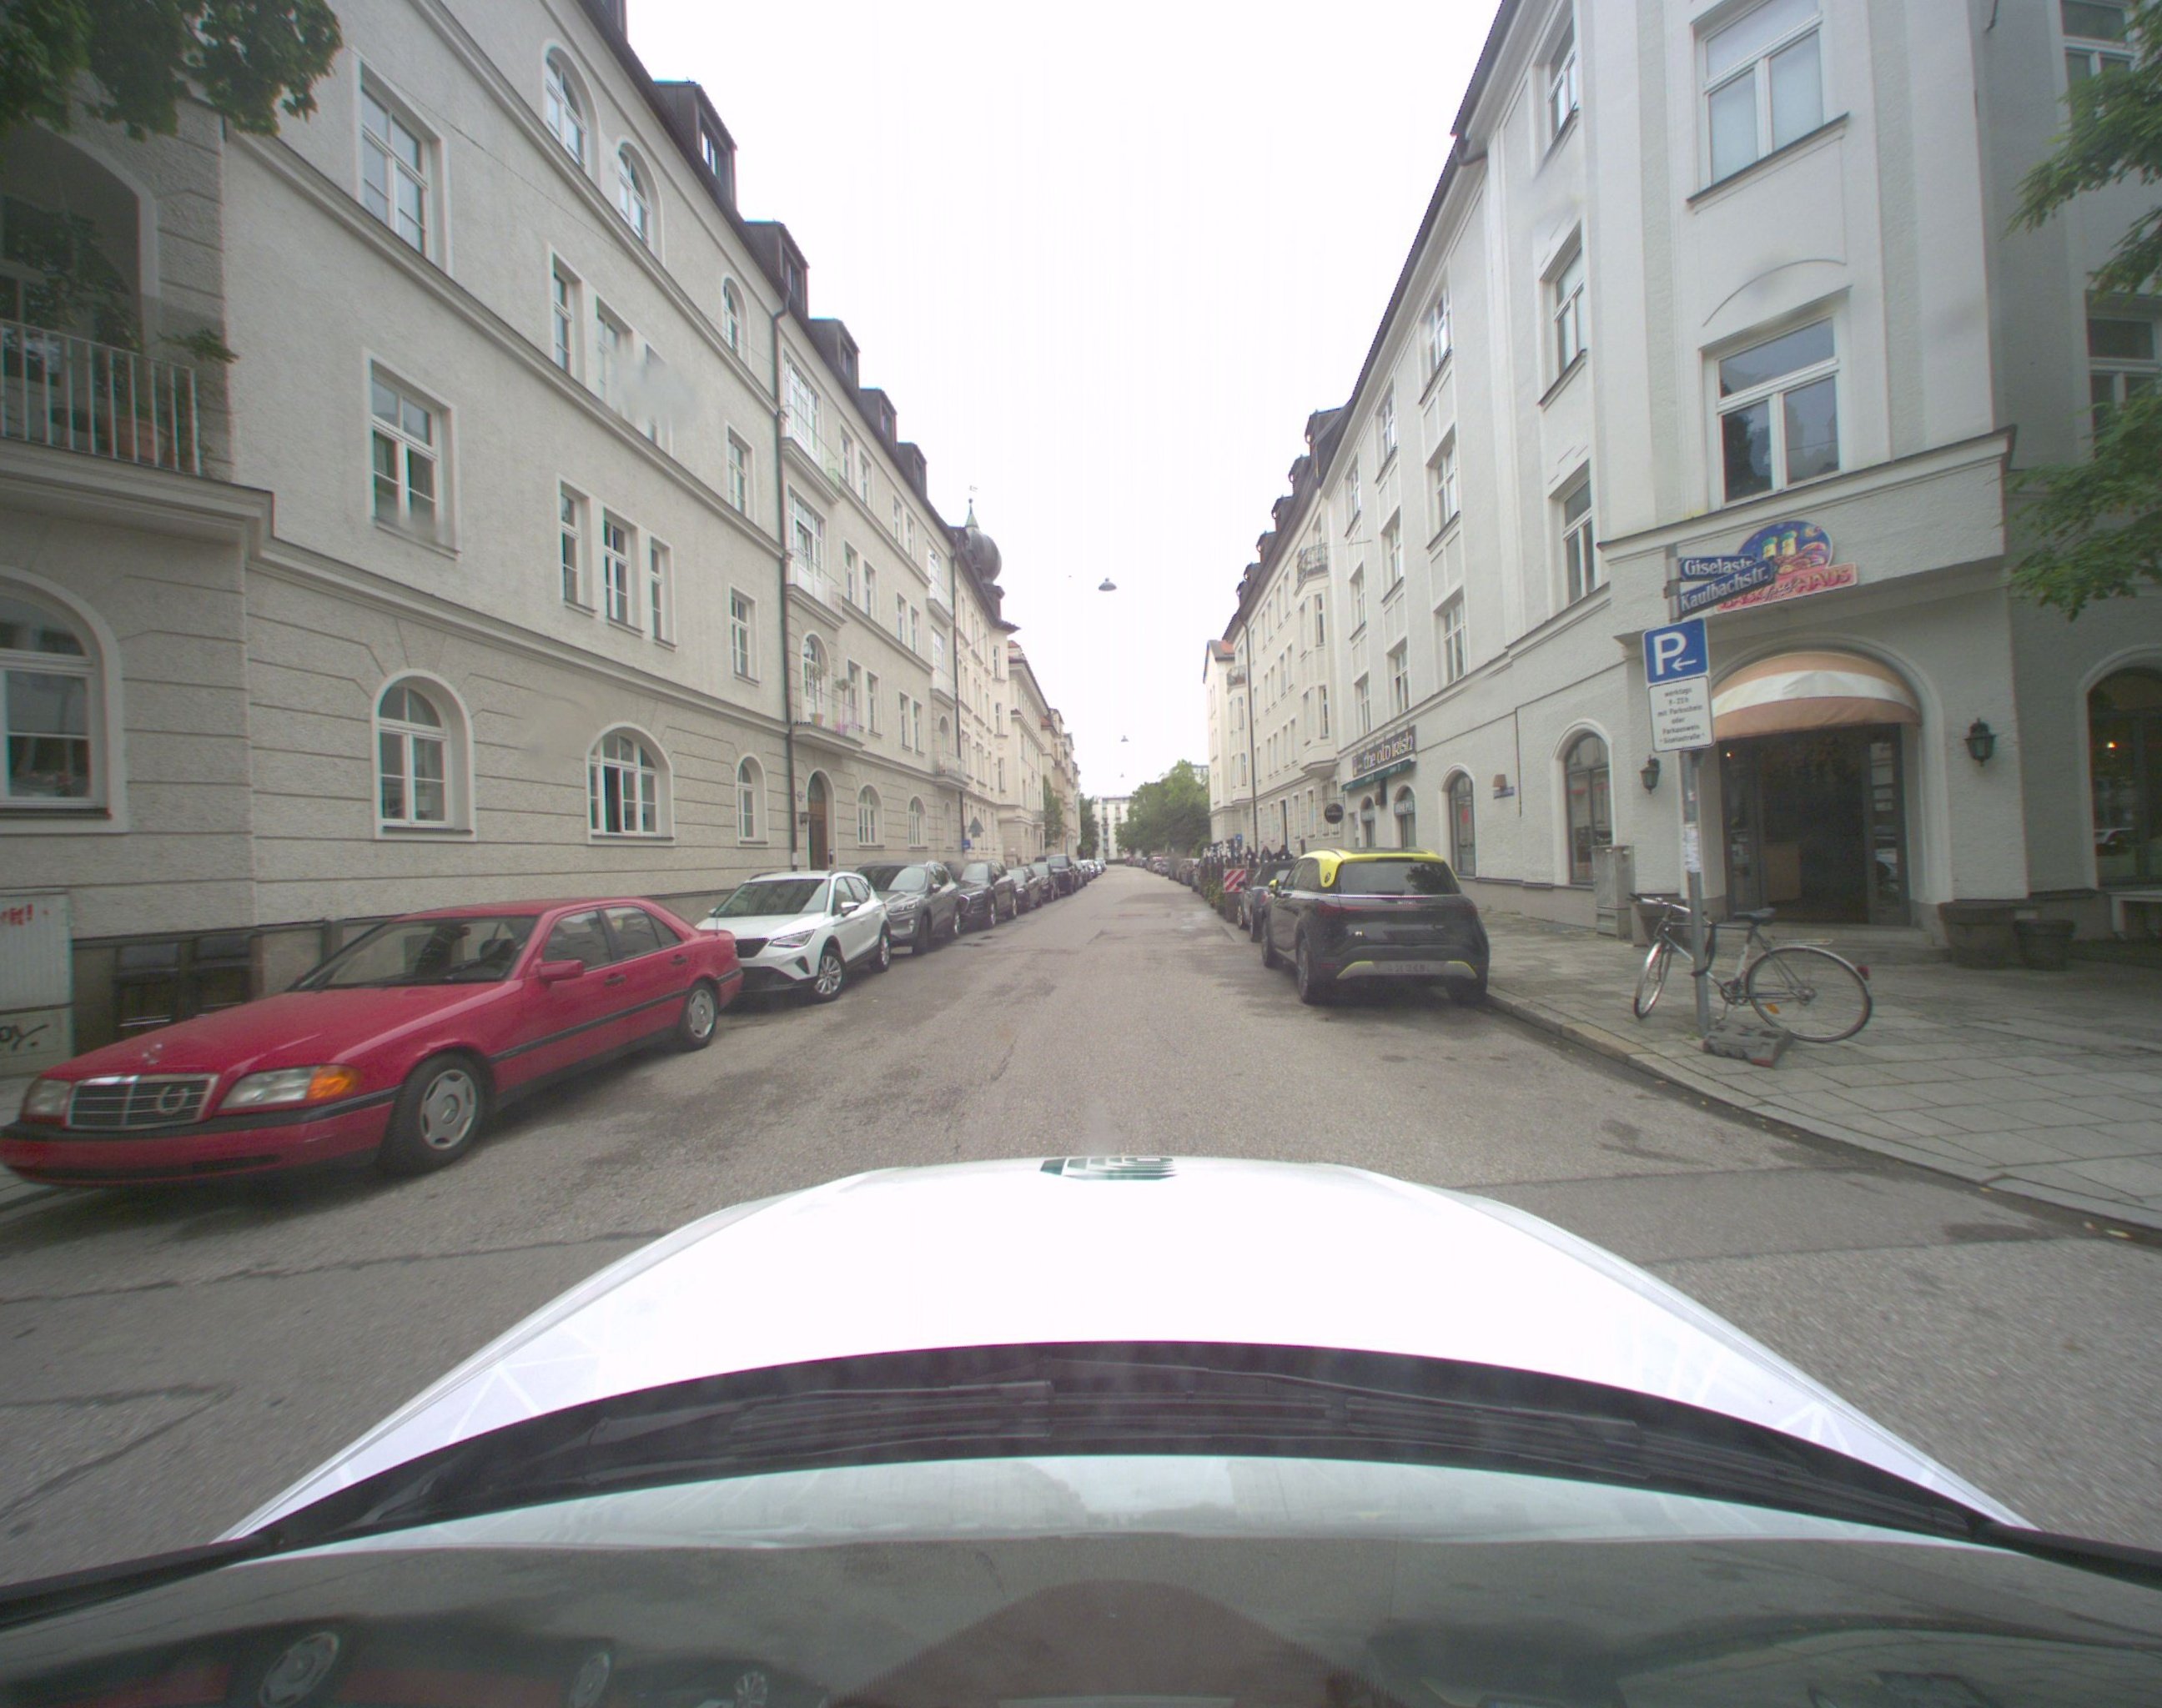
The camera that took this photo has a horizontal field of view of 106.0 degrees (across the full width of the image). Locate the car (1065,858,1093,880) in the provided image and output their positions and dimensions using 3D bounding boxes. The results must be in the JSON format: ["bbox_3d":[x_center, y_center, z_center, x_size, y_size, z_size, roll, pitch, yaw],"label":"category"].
[{"bbox_3d":[-0.086,1.092,60.500,1.785,1.415,4.281,-5,-1,2],"label":"car"}]

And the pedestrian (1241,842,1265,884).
[{"bbox_3d":[7.769,0.395,36.813,0.879,1.811,1.112,-2,0,4],"label":"pedestrian"}]

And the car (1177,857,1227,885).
[{"bbox_3d":[6.394,0.867,43.535,1.831,1.399,4.972,-1,0,-1],"label":"car"}]

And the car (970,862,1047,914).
[{"bbox_3d":[-2.249,1.042,26.387,1.646,1.407,4.098,-4,-1,6],"label":"car"}]

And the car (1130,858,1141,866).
[{"bbox_3d":[10.913,1.618,162.746,1.833,1.519,3.945,-1,-1,-1],"label":"car"}]

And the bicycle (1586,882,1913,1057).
[{"bbox_3d":[4.994,0.782,6.242,0.820,1.065,1.733,-2,0,-22],"label":"bicycle"}]

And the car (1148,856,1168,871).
[{"bbox_3d":[8.613,1.085,91.348,1.745,1.610,4.422,-1,0,-1],"label":"car"}]

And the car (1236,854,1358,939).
[{"bbox_3d":[3.983,0.717,15.491,1.658,1.400,3.497,0,0,5],"label":"car"}]

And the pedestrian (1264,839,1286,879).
[{"bbox_3d":[9.973,0.247,41.938,0.879,2.013,1.112,-2,0,4],"label":"pedestrian"}]

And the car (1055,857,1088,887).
[{"bbox_3d":[-0.516,1.041,49.252,1.720,1.618,4.122,-4,-1,1],"label":"car"}]

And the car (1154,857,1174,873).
[{"bbox_3d":[8.029,1.031,79.029,1.777,1.504,4.068,-1,0,3],"label":"car"}]

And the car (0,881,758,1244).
[{"bbox_3d":[-4.175,1.012,5.874,1.674,1.393,4.481,-3,0,2],"label":"car"}]

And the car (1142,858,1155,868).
[{"bbox_3d":[10.245,1.328,123.890,1.831,1.413,4.345,-1,-1,3],"label":"car"}]

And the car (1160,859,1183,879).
[{"bbox_3d":[7.564,1.223,68.140,1.813,1.569,4.406,0,0,5],"label":"car"}]

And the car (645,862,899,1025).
[{"bbox_3d":[-3.660,0.948,10.456,1.689,1.568,3.951,-2,0,0],"label":"car"}]

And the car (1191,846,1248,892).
[{"bbox_3d":[5.615,0.578,33.440,1.792,1.675,4.192,-2,0,3],"label":"car"}]

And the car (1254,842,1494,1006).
[{"bbox_3d":[3.343,0.686,10.163,1.828,1.618,4.100,0,0,5],"label":"car"}]

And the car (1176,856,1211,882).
[{"bbox_3d":[6.710,0.859,49.002,1.753,1.485,4.424,0,0,3],"label":"car"}]

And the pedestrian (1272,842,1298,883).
[{"bbox_3d":[9.112,0.375,36.434,0.879,1.786,1.112,-2,0,3],"label":"pedestrian"}]

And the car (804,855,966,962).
[{"bbox_3d":[-3.525,0.900,15.508,1.829,1.677,4.216,-2,0,3],"label":"car"}]

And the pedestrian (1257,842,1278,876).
[{"bbox_3d":[10.118,0.259,44.297,0.879,1.813,1.112,-2,0,4],"label":"pedestrian"}]

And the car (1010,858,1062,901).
[{"bbox_3d":[-1.723,0.957,32.149,1.610,1.513,3.534,-4,0,3],"label":"car"}]

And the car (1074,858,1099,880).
[{"bbox_3d":[0.417,1.207,65.202,1.777,1.541,4.256,-5,-1,-1],"label":"car"}]

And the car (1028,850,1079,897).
[{"bbox_3d":[-1.175,0.836,37.468,1.829,1.894,4.766,-4,0,2],"label":"car"}]

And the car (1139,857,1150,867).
[{"bbox_3d":[10.513,1.313,134.024,1.509,1.661,3.673,-1,-1,0],"label":"car"}]

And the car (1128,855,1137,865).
[{"bbox_3d":[10.967,1.294,173.571,1.828,1.927,4.010,0,0,5],"label":"car"}]

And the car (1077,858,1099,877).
[{"bbox_3d":[0.707,1.231,75.772,1.829,1.618,4.247,-2,0,2],"label":"car"}]

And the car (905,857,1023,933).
[{"bbox_3d":[-2.784,0.941,20.466,1.867,1.599,4.441,-2,0,6],"label":"car"}]

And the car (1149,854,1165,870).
[{"bbox_3d":[9.023,0.970,96.392,1.715,1.769,4.416,0,-1,3],"label":"car"}]

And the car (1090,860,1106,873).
[{"bbox_3d":[2.251,1.597,105.774,1.829,1.435,4.248,-5,0,3],"label":"car"}]

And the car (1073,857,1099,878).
[{"bbox_3d":[0.446,1.157,70.427,1.907,1.618,4.575,-2,0,3],"label":"car"}]

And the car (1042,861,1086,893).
[{"bbox_3d":[-0.843,1.182,43.233,1.828,1.394,4.249,-4,0,4],"label":"car"}]

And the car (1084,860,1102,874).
[{"bbox_3d":[1.351,1.422,91.134,1.830,1.434,4.245,-4,0,1],"label":"car"}]
